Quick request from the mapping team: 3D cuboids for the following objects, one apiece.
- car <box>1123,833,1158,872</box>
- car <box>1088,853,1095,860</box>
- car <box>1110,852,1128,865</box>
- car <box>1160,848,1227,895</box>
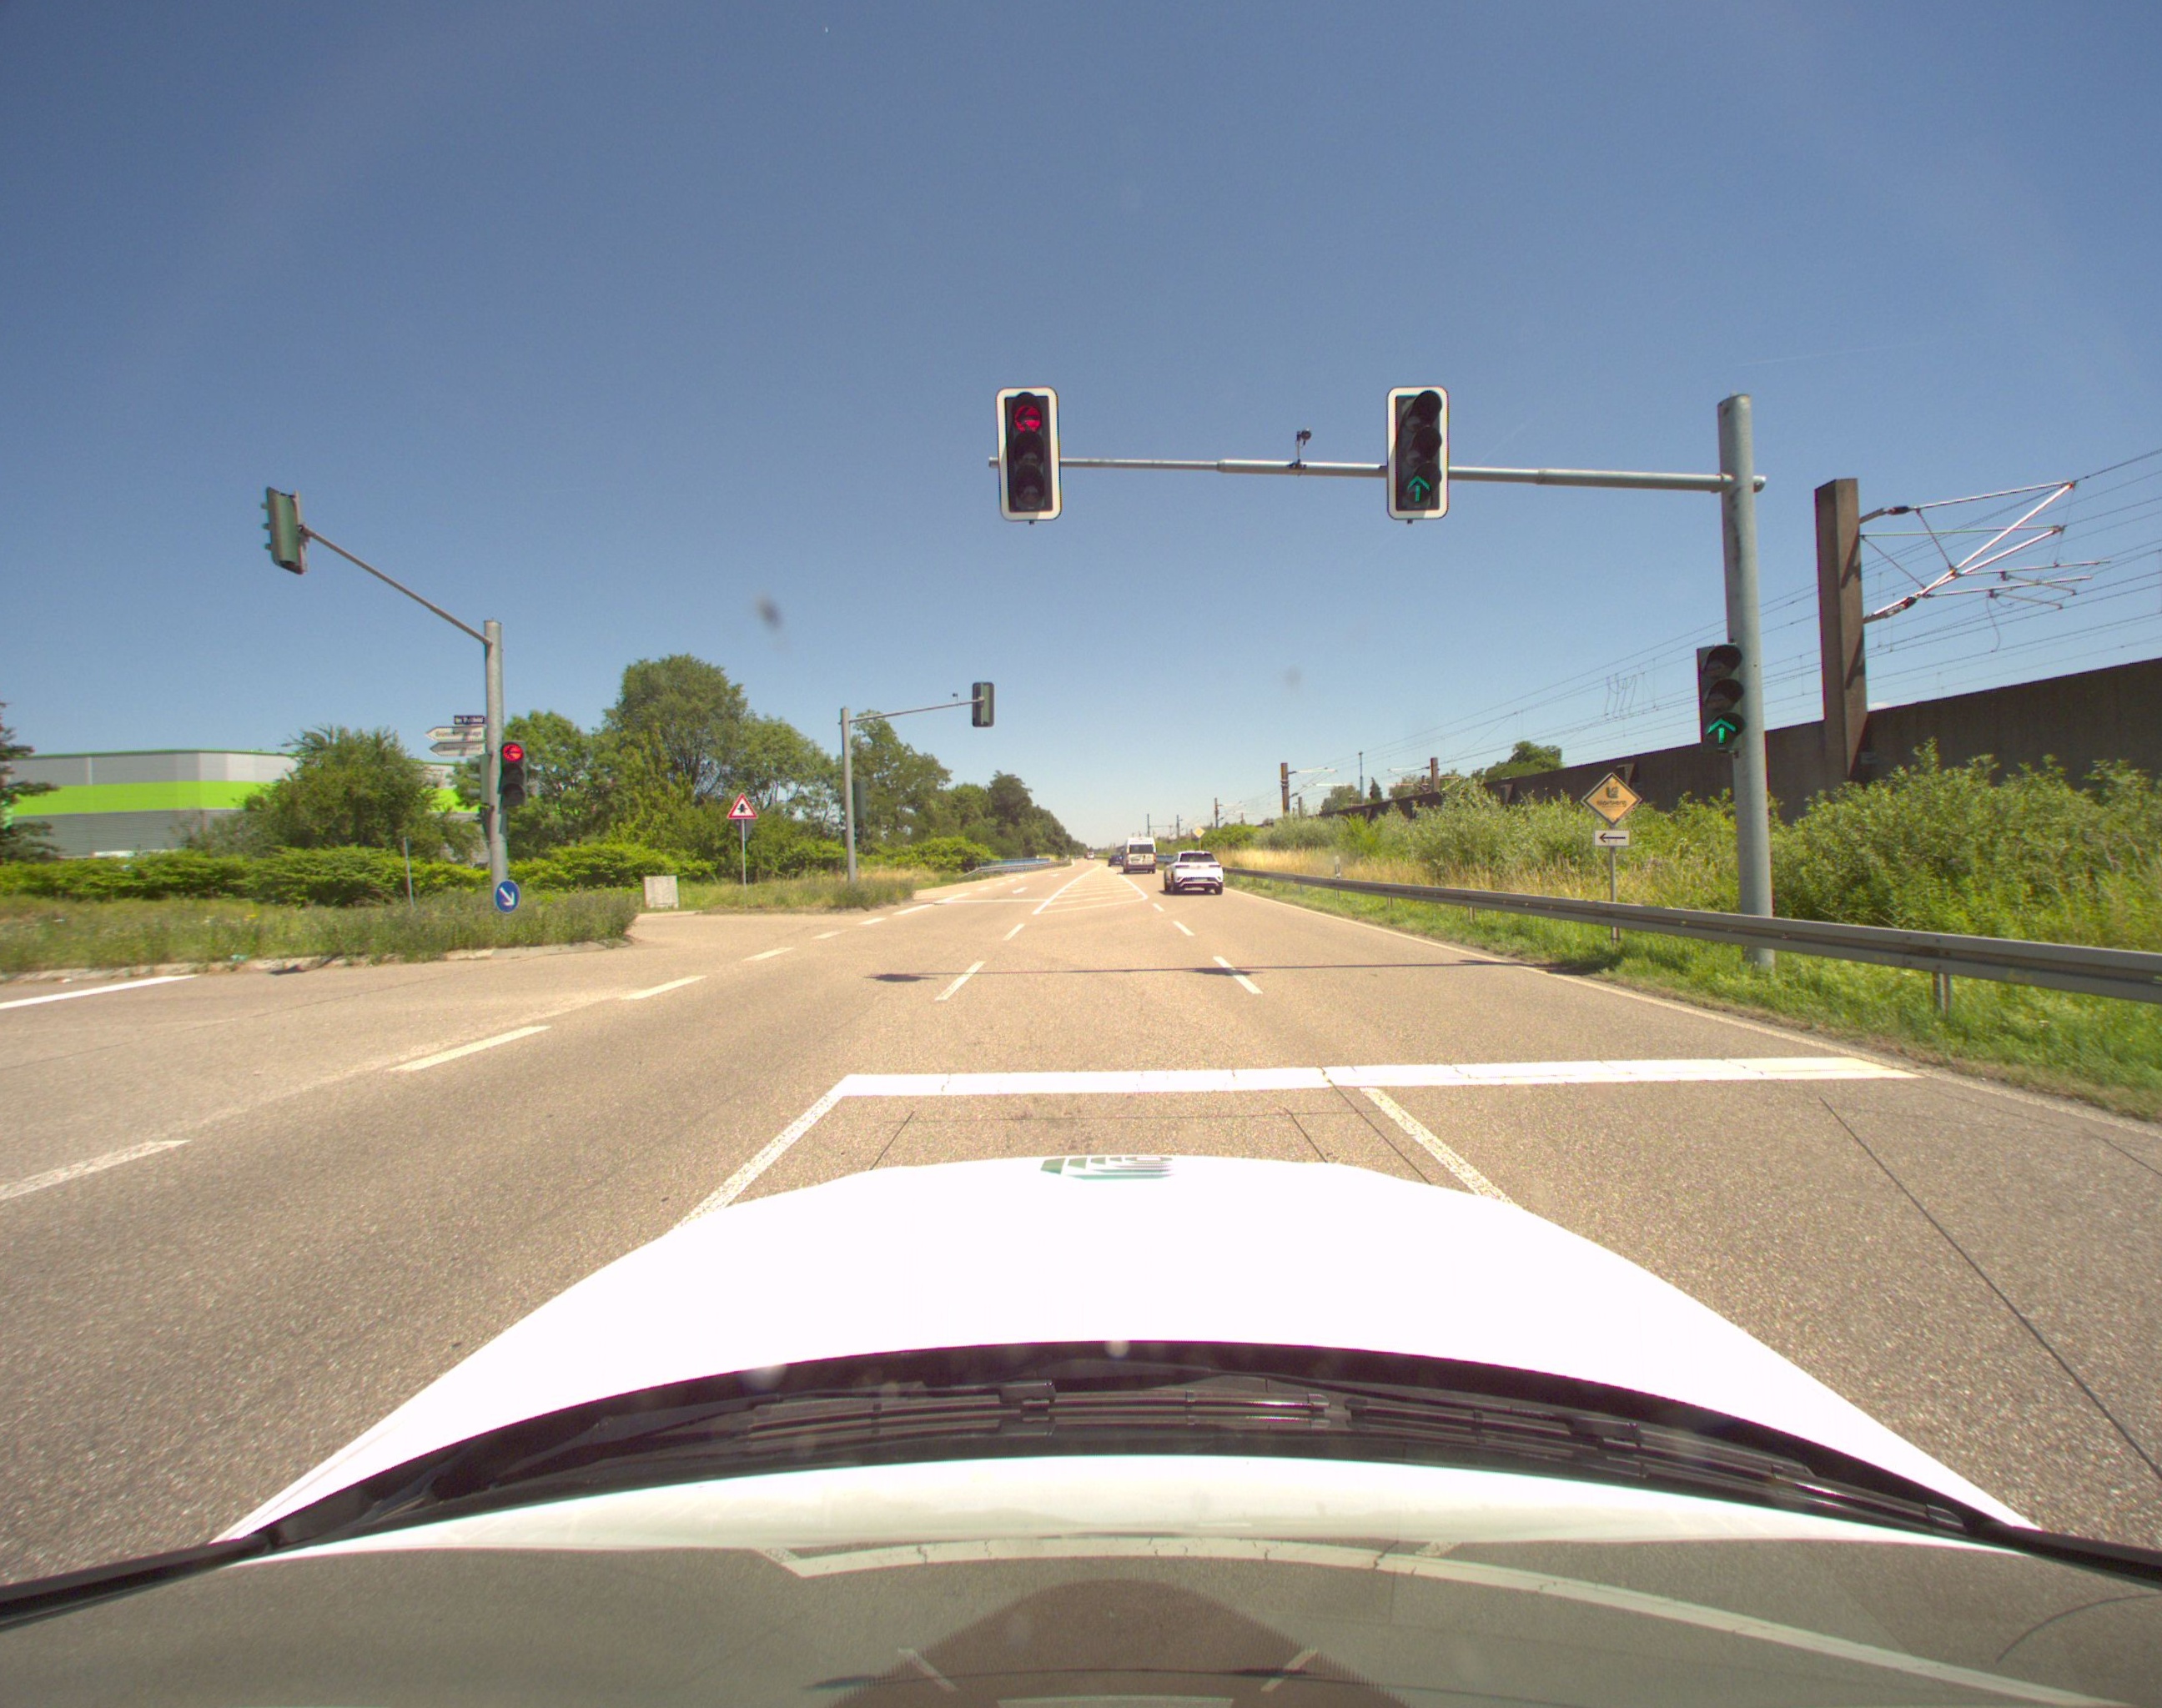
[{"bbox_3d":[4.210,-0.087,58.405,2.180,2.604,6.752,-1,0,1],"label":"car"},{"bbox_3d":[2.810,0.633,223.846,1.987,1.983,4.059,-1,0,0],"label":"car"},{"bbox_3d":[4.318,0.471,92.539,1.850,1.379,4.504,-1,0,1],"label":"car"},{"bbox_3d":[4.073,0.607,30.110,1.812,1.564,4.277,-1,0,-1],"label":"car"}]
